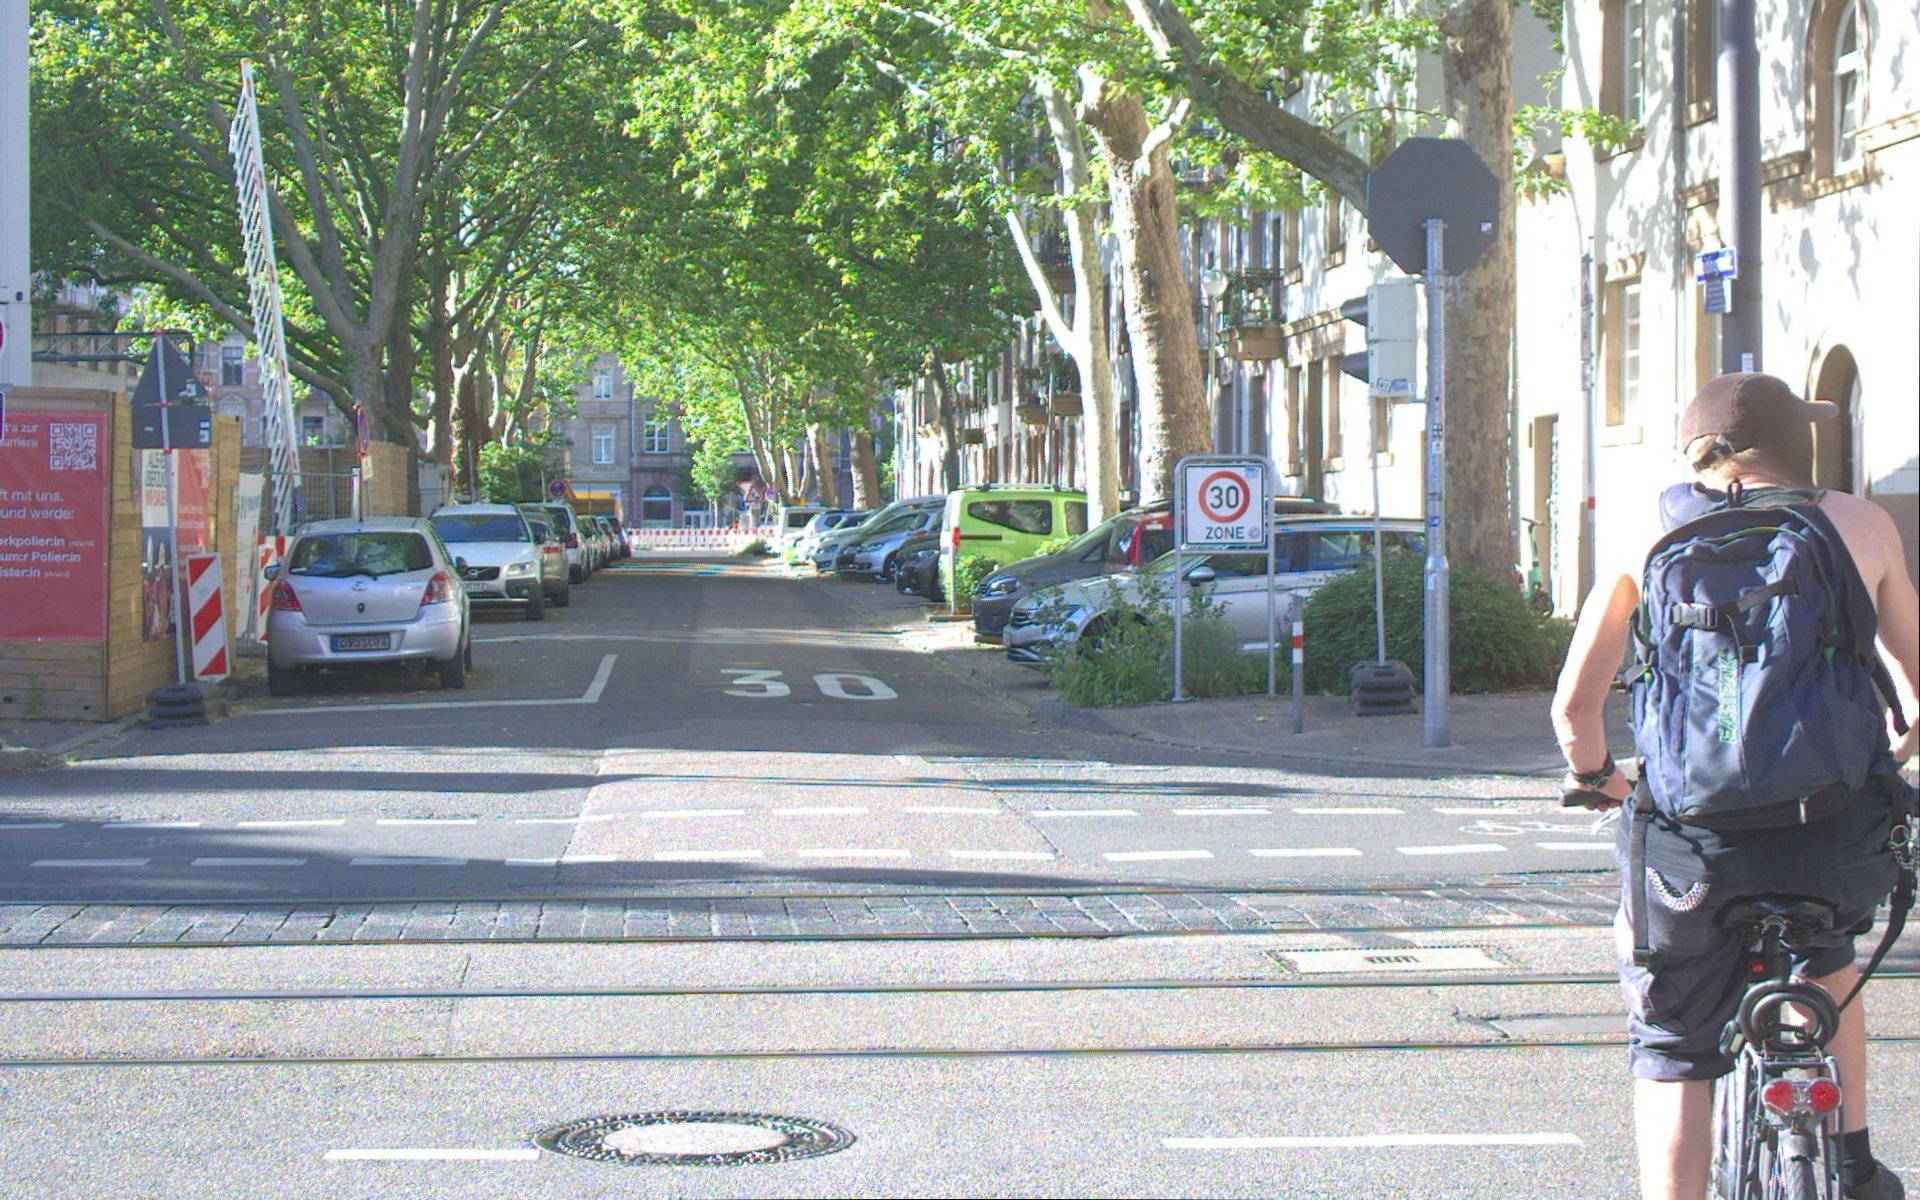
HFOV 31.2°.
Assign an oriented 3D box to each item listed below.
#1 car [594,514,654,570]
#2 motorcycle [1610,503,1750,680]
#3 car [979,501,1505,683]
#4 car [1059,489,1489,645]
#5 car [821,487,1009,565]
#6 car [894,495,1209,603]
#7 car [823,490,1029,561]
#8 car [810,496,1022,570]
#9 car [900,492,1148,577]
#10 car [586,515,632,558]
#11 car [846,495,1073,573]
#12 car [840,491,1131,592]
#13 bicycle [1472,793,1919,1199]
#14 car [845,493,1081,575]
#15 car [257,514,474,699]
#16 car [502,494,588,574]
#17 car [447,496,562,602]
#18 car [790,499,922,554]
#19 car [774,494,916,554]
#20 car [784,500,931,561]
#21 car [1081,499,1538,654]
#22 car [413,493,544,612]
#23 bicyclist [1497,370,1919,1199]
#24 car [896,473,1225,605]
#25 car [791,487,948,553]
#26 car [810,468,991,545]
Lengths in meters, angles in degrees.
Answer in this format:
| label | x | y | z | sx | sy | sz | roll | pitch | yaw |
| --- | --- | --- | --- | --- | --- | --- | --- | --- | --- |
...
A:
| label | x | y | z | sx | sy | sz | roll | pitch | yaw |
| --- | --- | --- | --- | --- | --- | --- | --- | --- | --- |
| car | -9.738 | -1.685 | 99.370 | 1.665 | 1.557 | 4.220 | 0 | 2 | -6 |
| motorcycle | 5.611 | -0.091 | 26.879 | 0.513 | 1.328 | 1.764 | 0 | 2 | -7 |
| car | 2.477 | -0.092 | 30.814 | 4.461 | 1.565 | 1.729 | 0 | 2 | -5 |
| car | 3.411 | -0.378 | 37.813 | 4.461 | 1.665 | 1.729 | 0 | 2 | -5 |
| car | -1.116 | -1.811 | 84.097 | 4.461 | 1.891 | 1.729 | 0 | 2 | -5 |
| car | 1.320 | -0.765 | 50.766 | 4.461 | 1.565 | 1.729 | 0 | 2 | -5 |
| car | -0.784 | -1.671 | 76.780 | 4.461 | 1.565 | 1.729 | 0 | 2 | -5 |
| car | -0.975 | -1.461 | 74.444 | 4.461 | 1.565 | 1.729 | 0 | 2 | -5 |
| car | 1.165 | -1.229 | 64.128 | 4.461 | 1.565 | 1.729 | 0 | 2 | -5 |
| car | -13.286 | -2.407 | 130.010 | 1.665 | 1.557 | 4.220 | 0 | 2 | -6 |
| car | -0.036 | -1.347 | 69.733 | 4.461 | 1.565 | 1.729 | 0 | 2 | -5 |
| car | 0.373 | -0.939 | 54.644 | 4.461 | 1.565 | 1.729 | 0 | 2 | -5 |
| bicycle | 1.216 | 0.899 | 5.440 | 0.690 | 1.013 | 1.907 | 2 | 1 | 6 |
| car | 0.036 | -1.295 | 67.256 | 4.461 | 1.565 | 1.729 | 0 | 2 | -5 |
| car | -5.321 | 0.002 | 31.164 | 1.643 | 1.489 | 4.001 | -2 | 2 | -6 |
| car | -8.371 | -1.358 | 69.494 | 1.665 | 1.557 | 4.617 | 0 | 2 | -6 |
| car | -6.957 | -0.819 | 52.800 | 1.665 | 1.557 | 4.520 | 0 | 2 | -6 |
| car | -3.618 | -2.555 | 119.083 | 4.461 | 1.891 | 1.729 | 0 | 2 | -5 |
| car | -3.692 | -2.429 | 110.038 | 4.461 | 1.891 | 1.729 | 0 | 2 | -5 |
| car | -3.201 | -2.173 | 107.025 | 4.461 | 1.891 | 1.729 | 0 | 2 | -5 |
| car | 3.590 | -0.257 | 35.735 | 4.461 | 1.565 | 1.729 | 0 | 2 | -5 |
| car | -6.554 | -0.678 | 47.109 | 1.665 | 1.557 | 4.001 | 0 | 2 | -6 |
| bicyclist | 1.229 | 0.413 | 5.438 | 0.676 | 1.507 | 0.668 | 2 | 1 | 6 |
| car | 1.394 | -0.875 | 48.746 | 4.461 | 1.830 | 1.729 | 0 | 2 | -6 |
| car | -2.638 | -2.312 | 99.606 | 4.461 | 1.891 | 1.729 | 0 | 2 | -5 |
| car | -1.520 | -2.361 | 86.830 | 4.461 | 1.891 | 1.729 | 0 | 2 | -5 |
